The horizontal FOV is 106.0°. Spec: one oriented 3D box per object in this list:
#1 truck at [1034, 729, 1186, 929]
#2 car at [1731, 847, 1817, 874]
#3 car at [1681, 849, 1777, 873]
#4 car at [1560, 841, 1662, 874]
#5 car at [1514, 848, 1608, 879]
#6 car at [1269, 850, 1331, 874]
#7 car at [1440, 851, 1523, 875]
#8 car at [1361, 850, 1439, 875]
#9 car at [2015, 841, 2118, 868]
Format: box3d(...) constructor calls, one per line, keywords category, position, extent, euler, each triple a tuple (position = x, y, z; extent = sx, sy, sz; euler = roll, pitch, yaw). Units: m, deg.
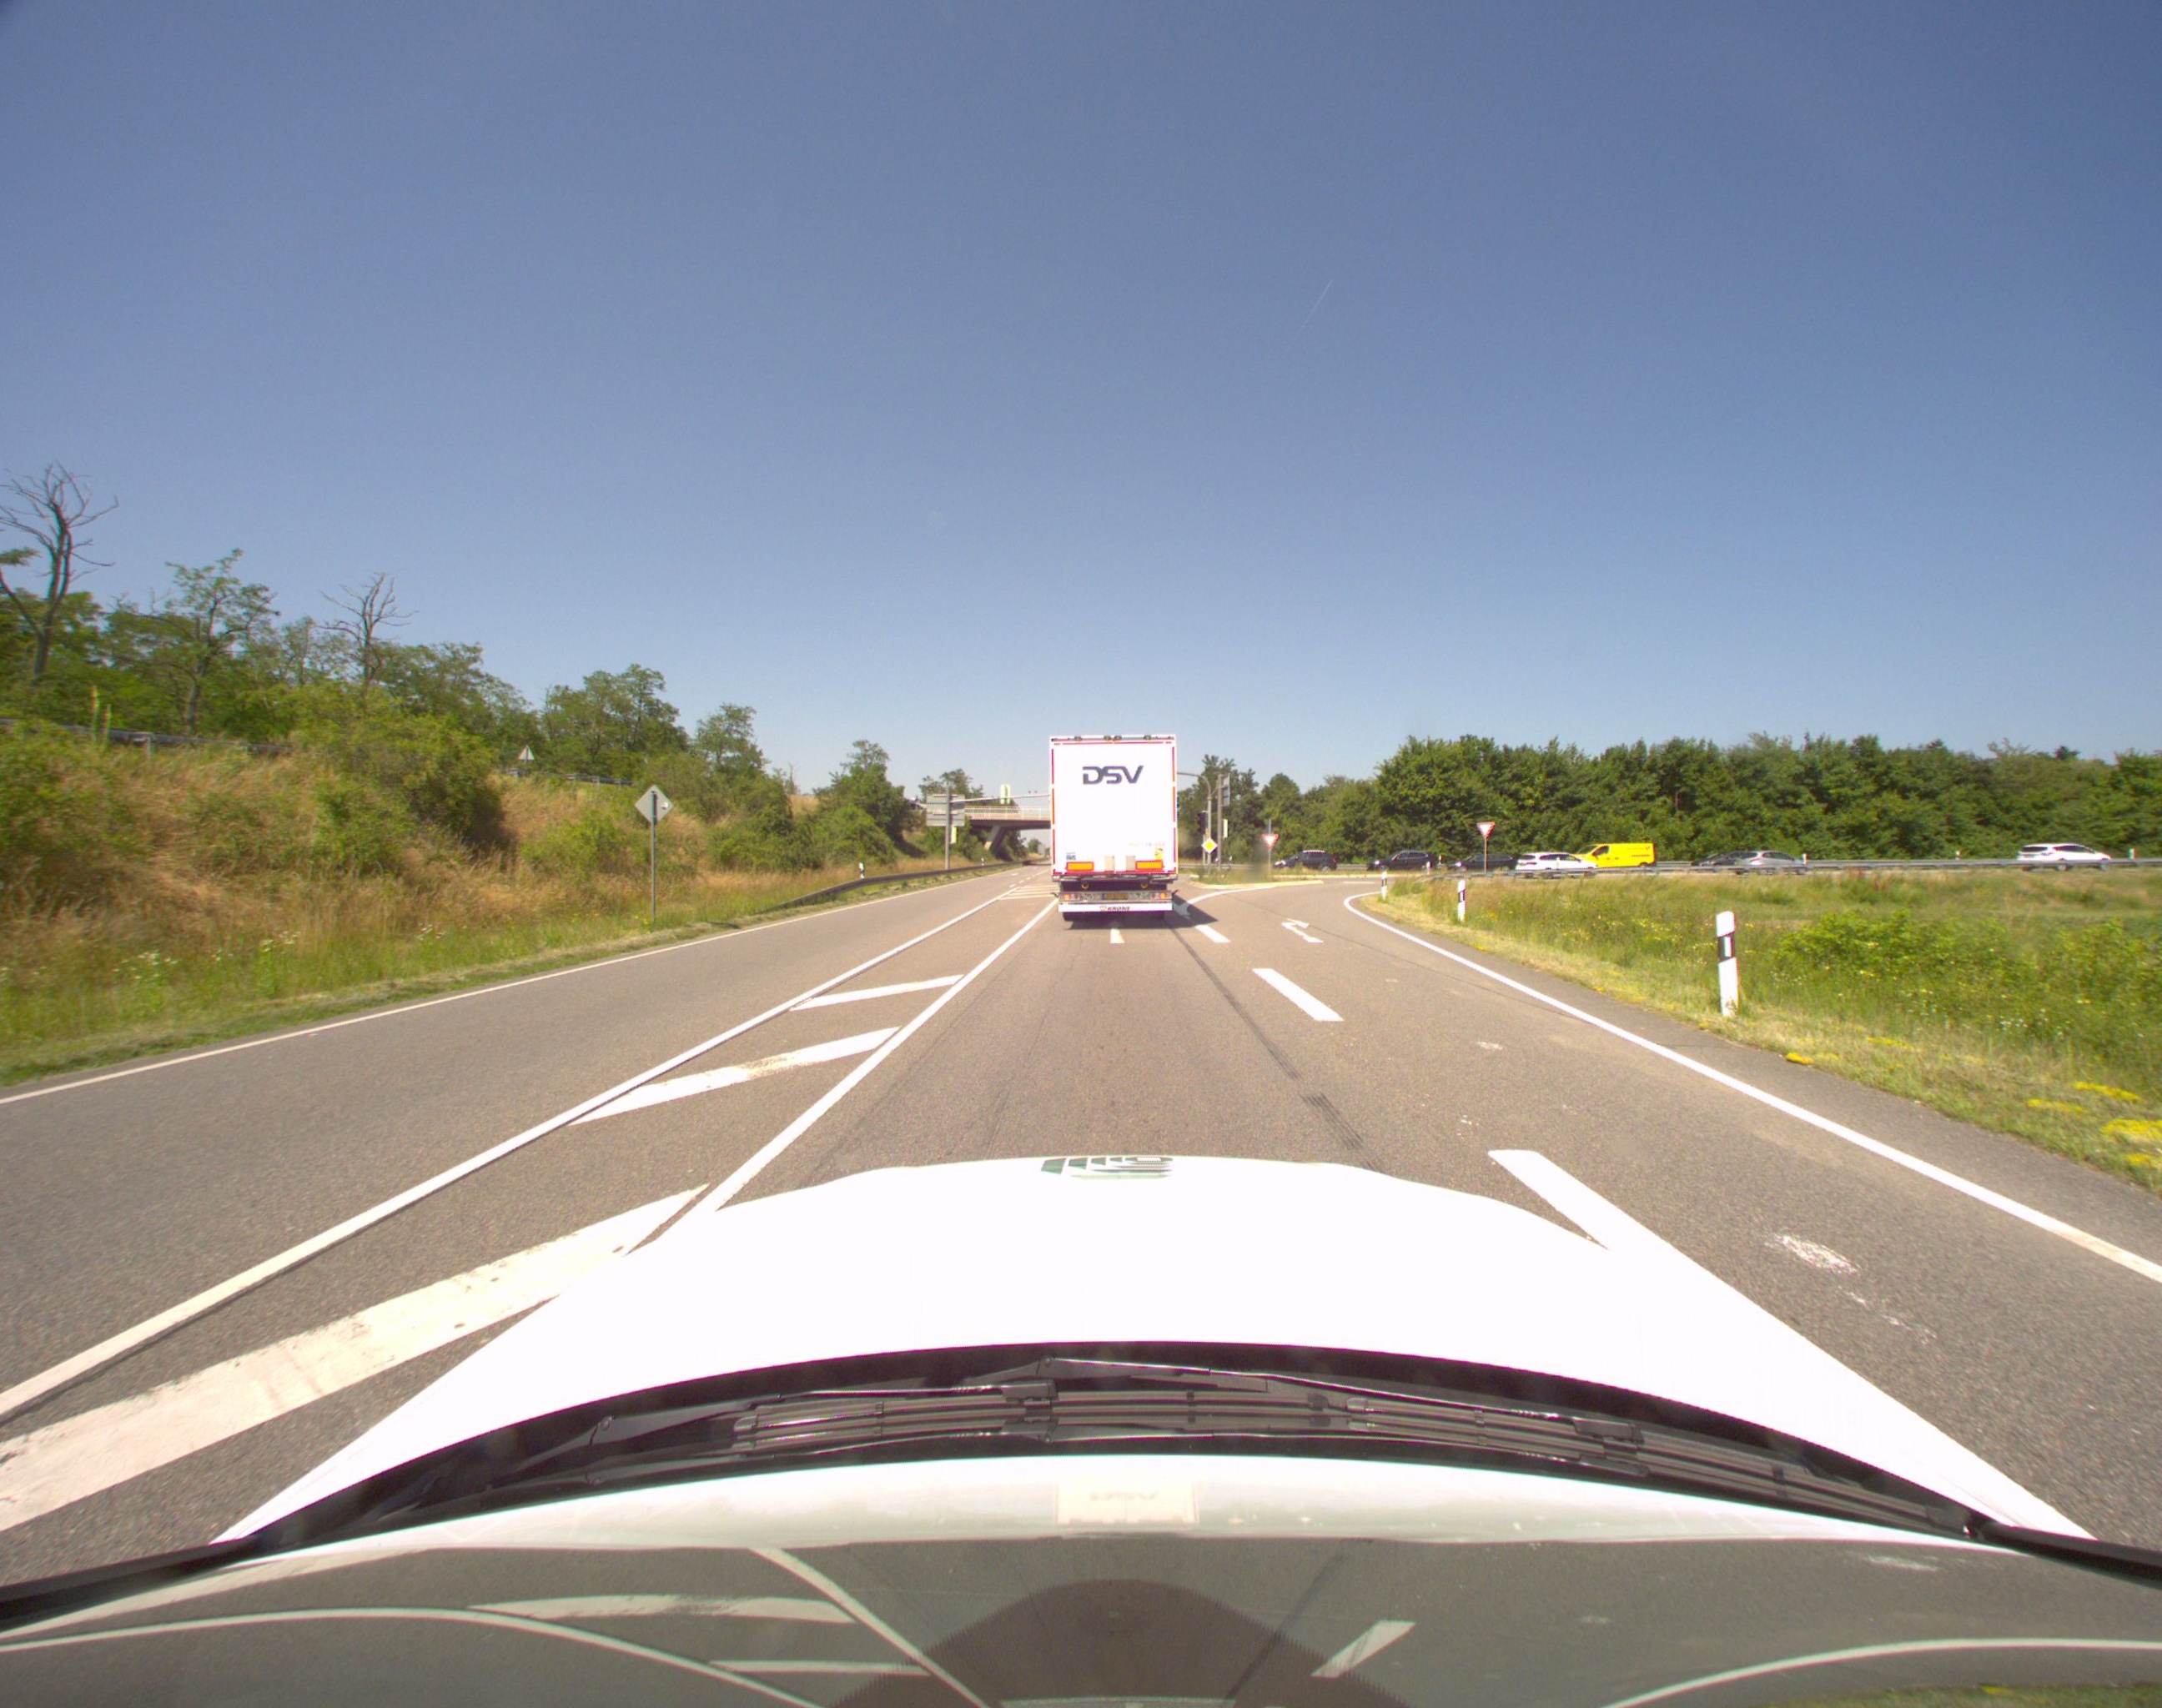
box3d(category="truck", position=(0.730, -0.473, 21.129), extent=(2.976, 3.942, 9.879), euler=(-1, 0, 2))
box3d(category="car", position=(41.157, 0.396, 48.420), extent=(3.672, 1.567, 1.738), euler=(-1, -1, -2))
box3d(category="car", position=(42.036, 0.446, 52.924), extent=(4.661, 1.514, 1.855), euler=(-1, -1, 4))
box3d(category="car", position=(34.492, 0.232, 53.118), extent=(5.299, 2.014, 2.002), euler=(-1, -1, 3))
box3d(category="car", position=(27.155, 0.514, 46.127), extent=(4.465, 1.567, 1.735), euler=(-2, -1, -7))
box3d(category="car", position=(15.062, 0.554, 56.236), extent=(3.963, 1.640, 1.845), euler=(-1, -1, 8))
box3d(category="car", position=(27.068, 0.608, 55.175), extent=(4.654, 1.514, 1.858), euler=(-1, -1, 9))
box3d(category="car", position=(21.092, 0.567, 53.987), extent=(4.465, 1.598, 1.770), euler=(-1, -1, 4))
box3d(category="car", position=(59.281, 0.025, 49.006), extent=(4.461, 1.567, 1.736), euler=(-1, -1, -5))
